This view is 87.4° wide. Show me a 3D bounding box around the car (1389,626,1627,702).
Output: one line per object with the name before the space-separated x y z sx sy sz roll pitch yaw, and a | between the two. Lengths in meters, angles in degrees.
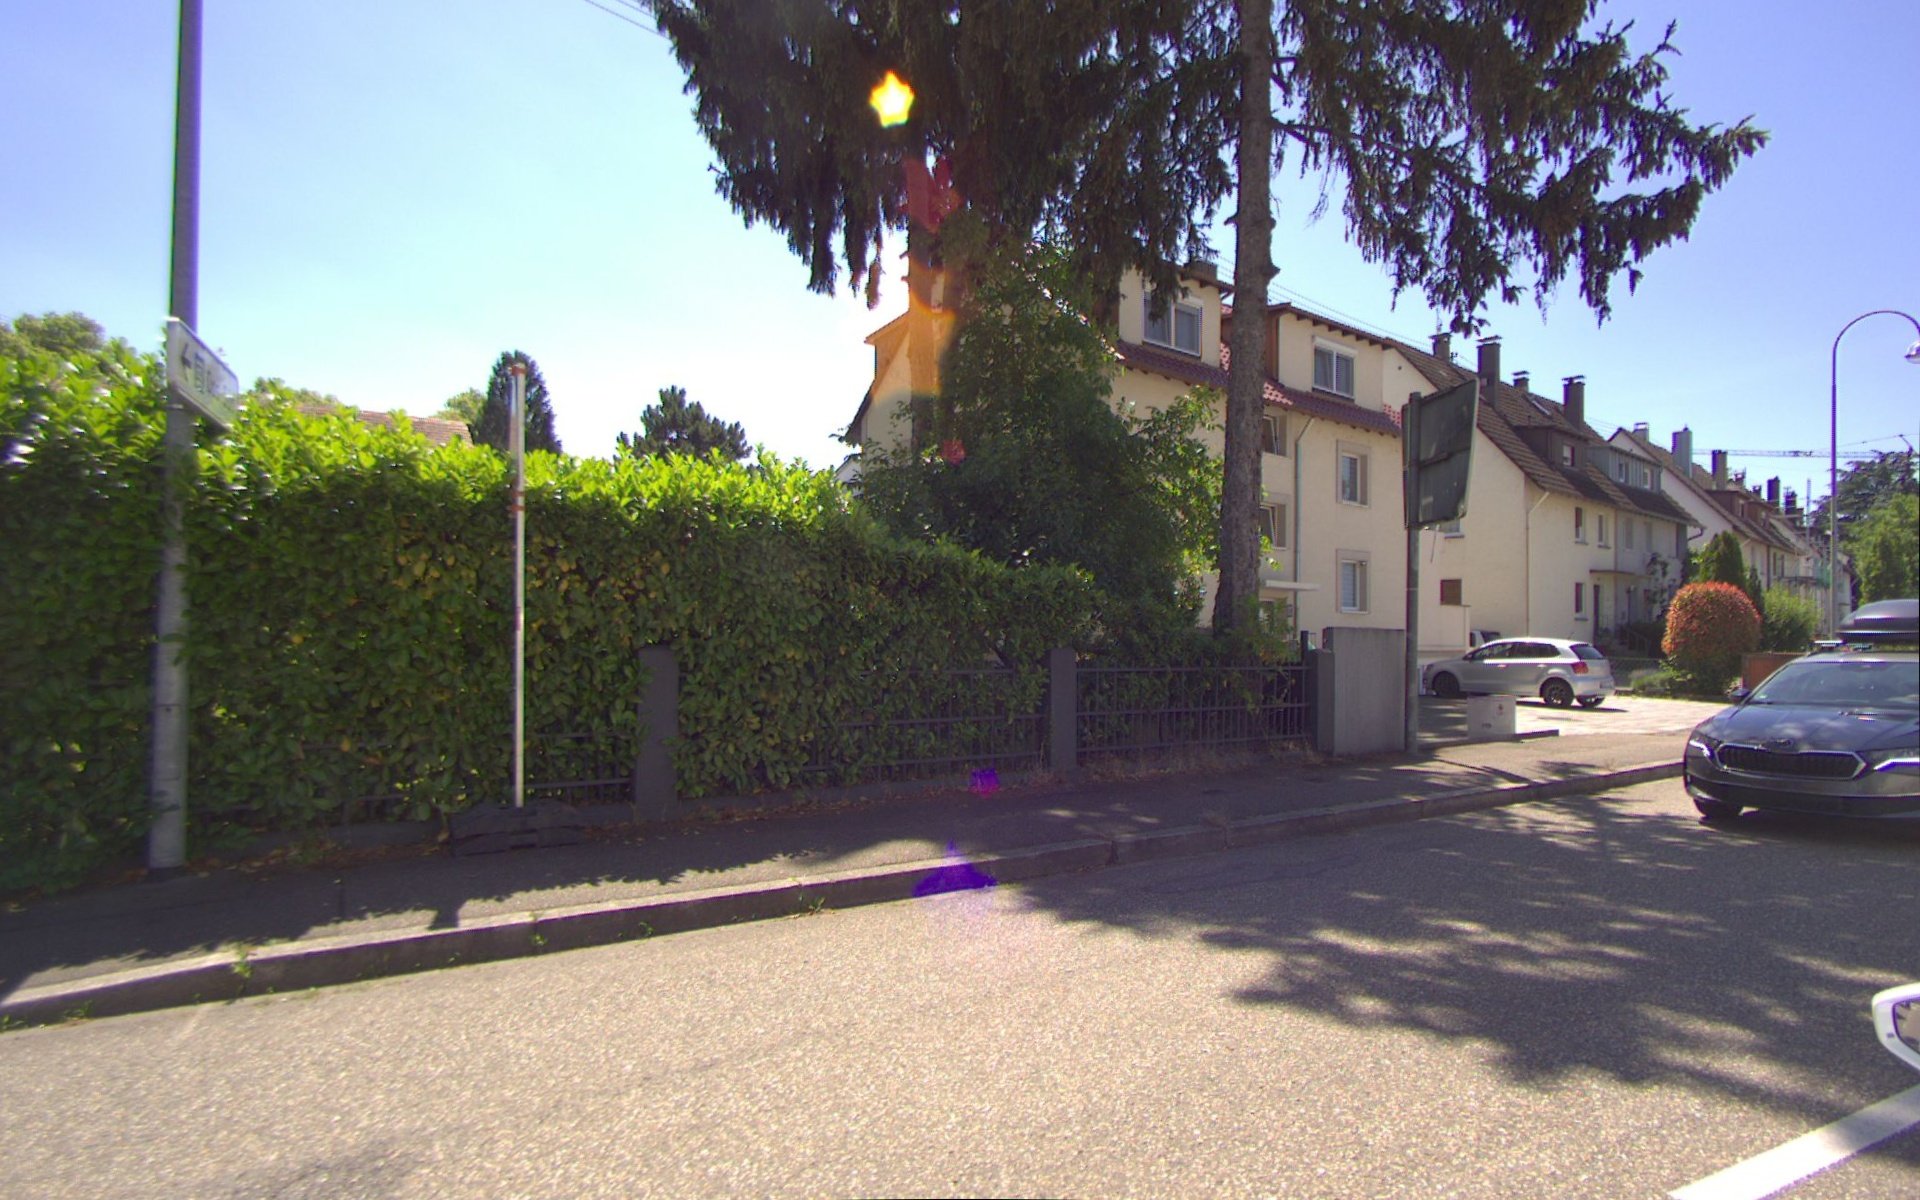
car | 12.366 1.388 22.957 1.827 1.460 4.443 2 -1 -33

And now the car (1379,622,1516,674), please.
car | 16.086 1.540 33.274 1.633 1.556 3.753 1 0 -39

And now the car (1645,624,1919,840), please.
car | 8.162 1.009 8.891 4.336 1.508 1.797 1 -3 -31

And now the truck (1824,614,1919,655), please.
truck | 44.541 1.670 48.761 1.534 1.963 3.735 1 -2 -41
